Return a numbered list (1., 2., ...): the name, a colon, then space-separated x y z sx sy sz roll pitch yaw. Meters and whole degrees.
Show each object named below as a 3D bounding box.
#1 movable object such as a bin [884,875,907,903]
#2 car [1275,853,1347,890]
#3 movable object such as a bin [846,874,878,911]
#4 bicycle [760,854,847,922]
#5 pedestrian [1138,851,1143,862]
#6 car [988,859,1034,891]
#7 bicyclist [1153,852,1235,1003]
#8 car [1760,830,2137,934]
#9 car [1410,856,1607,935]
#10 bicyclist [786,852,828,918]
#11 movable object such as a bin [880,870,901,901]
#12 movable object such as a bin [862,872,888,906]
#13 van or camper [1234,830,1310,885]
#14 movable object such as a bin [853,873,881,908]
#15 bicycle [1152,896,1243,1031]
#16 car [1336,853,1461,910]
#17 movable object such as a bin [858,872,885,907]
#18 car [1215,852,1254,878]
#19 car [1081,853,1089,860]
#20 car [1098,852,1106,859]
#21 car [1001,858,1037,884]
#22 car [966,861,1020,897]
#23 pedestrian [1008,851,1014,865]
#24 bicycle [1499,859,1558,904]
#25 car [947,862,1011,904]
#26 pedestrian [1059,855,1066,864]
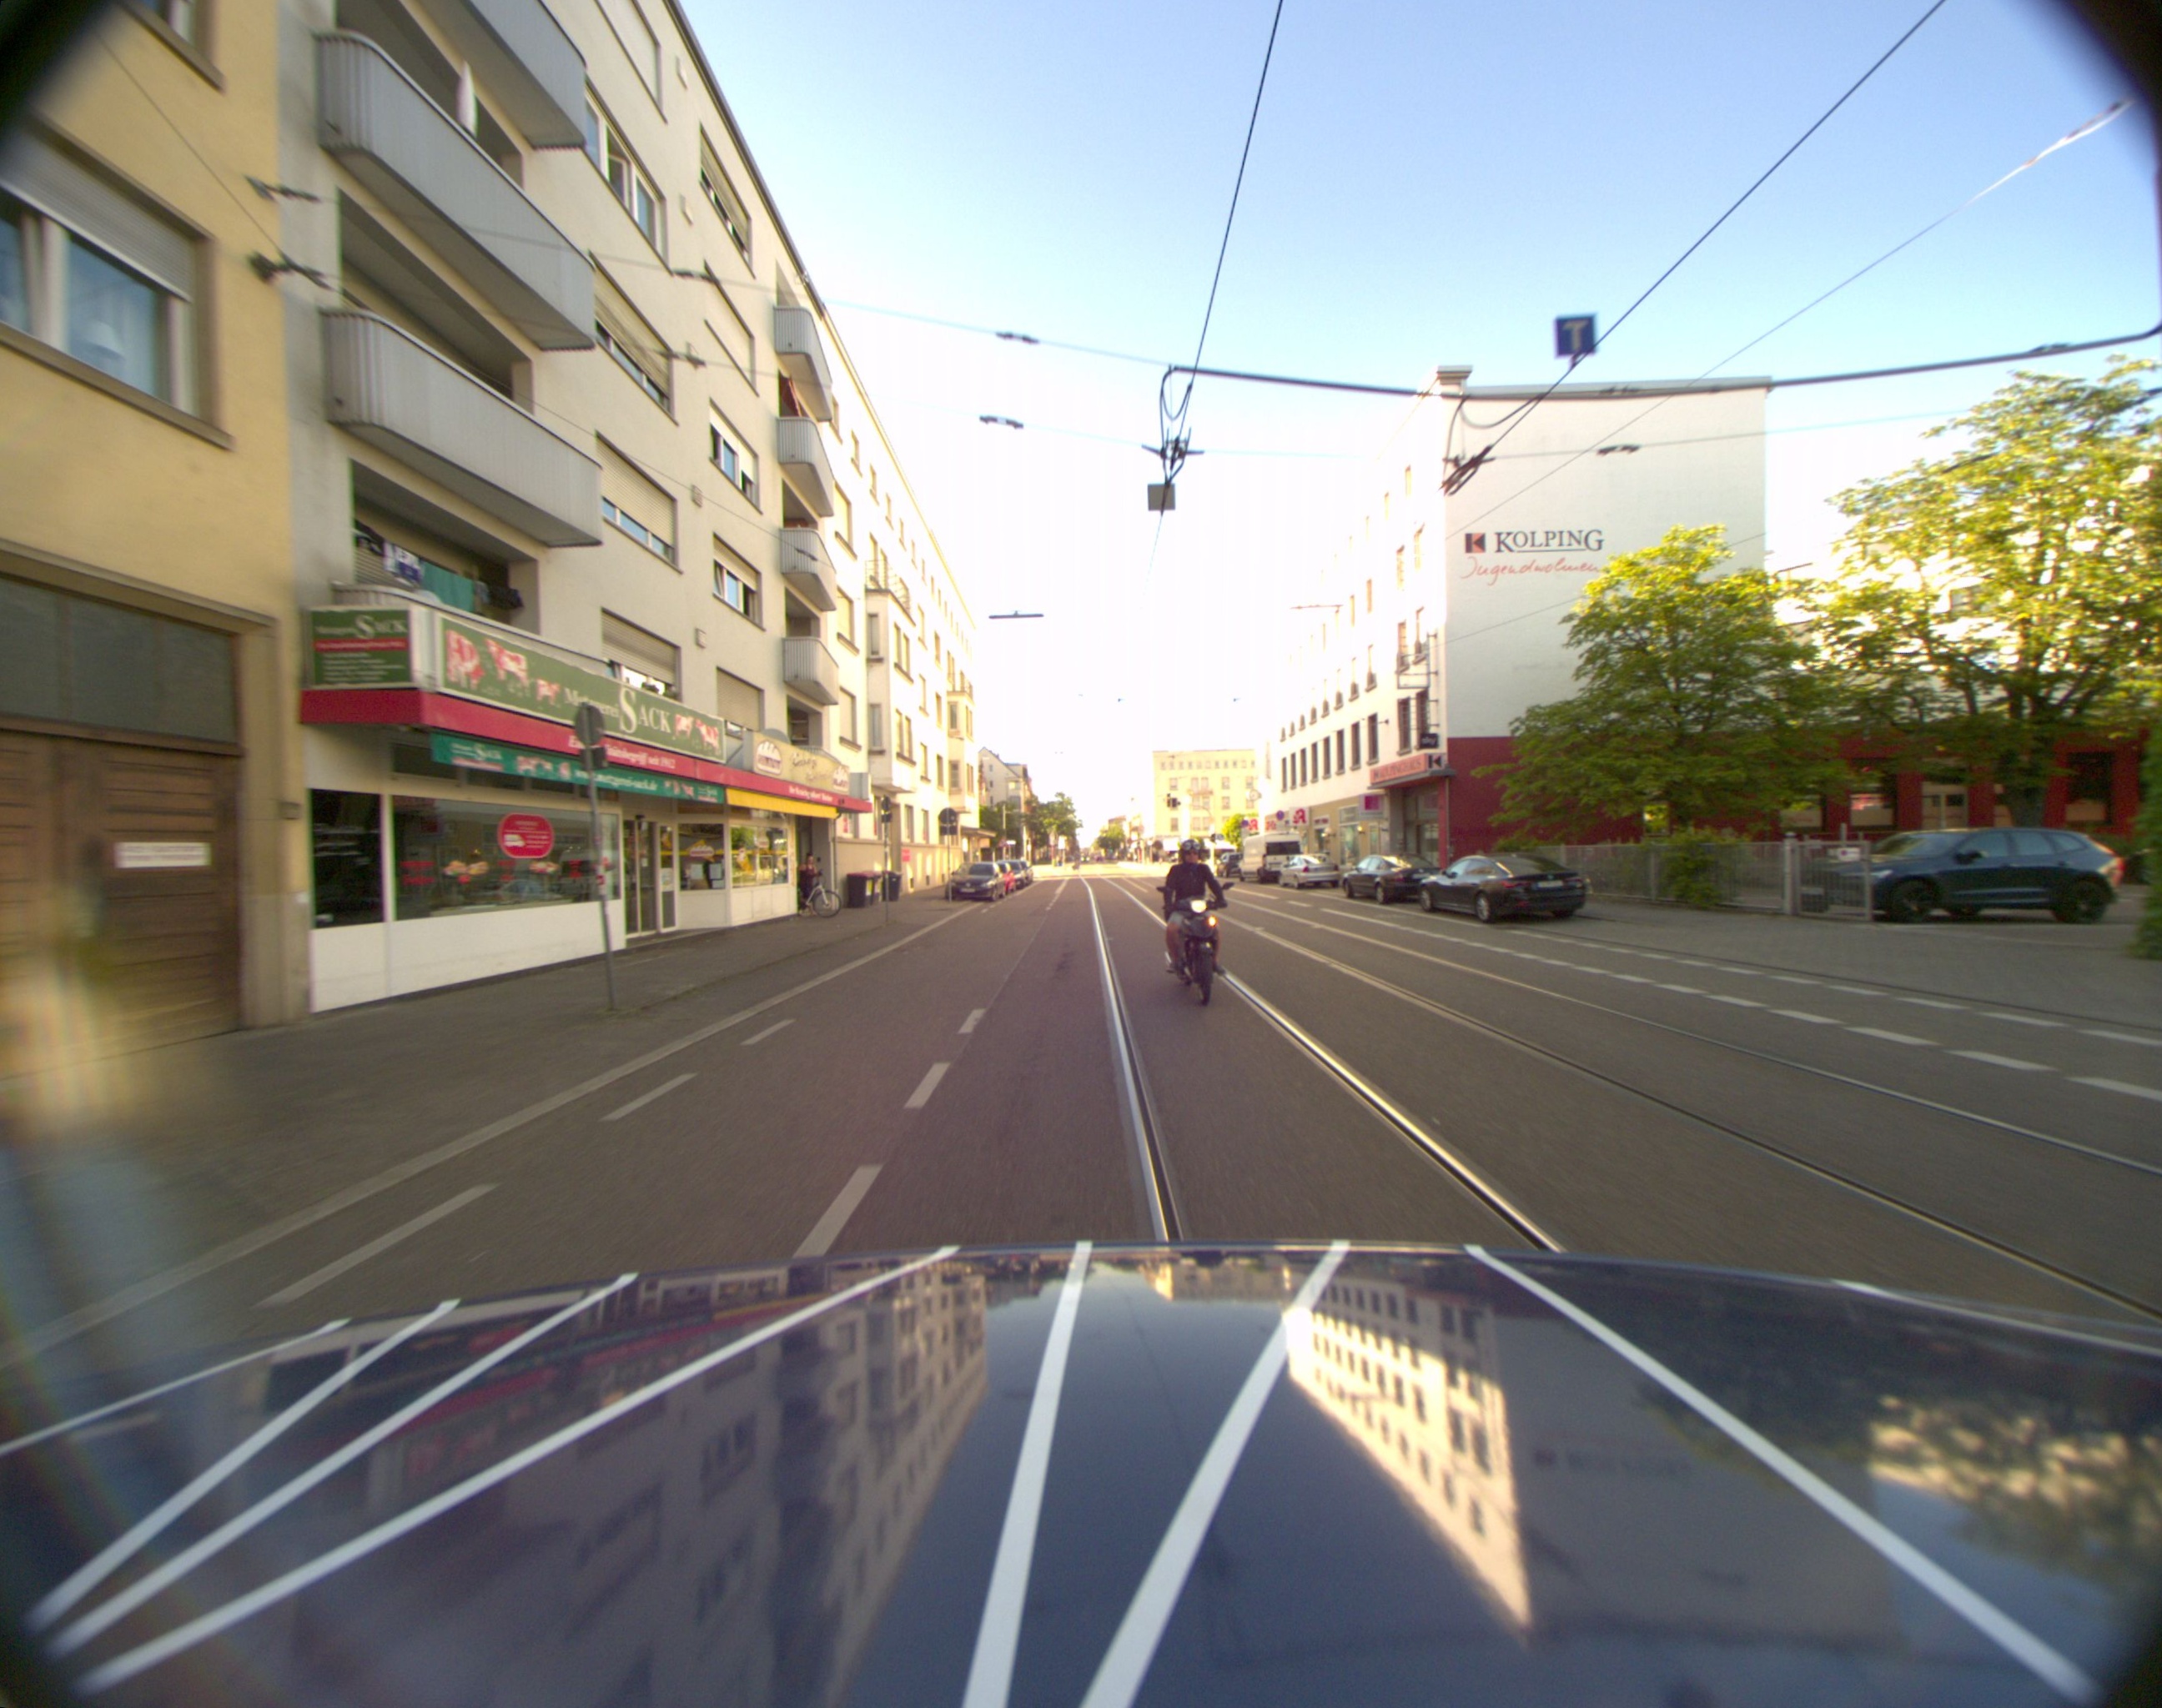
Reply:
1. movable object such as a bin: -6.475 1.216 26.561 0.657 0.911 0.569 -2 1 -1
2. car: 9.688 0.697 32.376 1.787 1.390 4.445 -3 0 2
3. movable object such as a bin: -6.682 1.162 23.222 0.772 1.066 0.618 -2 1 -1
4. bicycle: -7.287 0.871 20.010 1.935 1.700 0.775 -2 1 4
5. pedestrian: 8.234 0.390 104.491 0.551 1.482 0.610 -1 1 -6
6. car: -3.600 1.079 39.711 1.862 1.498 4.096 1 0 2
7. bicyclist: 1.199 0.755 8.230 0.774 1.531 0.939 -1 1 4
8. car: 15.288 0.472 13.622 4.372 1.588 2.000 -2 0 2
9. car: 9.521 0.827 17.481 1.787 1.437 4.841 -3 0 1
10. bicyclist: -7.202 0.819 20.007 0.844 1.692 0.510 -2 1 4
11. movable object such as a bin: -6.823 1.128 27.217 0.560 1.051 0.554 -2 1 -1
12. movable object such as a bin: -6.793 1.146 25.035 0.677 1.066 0.569 -2 1 -1
13. van or camper: 9.693 0.160 39.173 2.177 2.453 6.231 -3 0 0
14. movable object such as a bin: -6.726 1.145 23.865 0.677 1.066 0.569 -2 1 -1
15. bicycle: 1.212 1.111 8.244 0.767 1.191 1.752 -1 0 3
16. car: 9.499 0.759 23.214 1.788 1.472 4.699 -3 0 0
17. movable object such as a bin: -6.728 1.134 24.449 0.677 1.066 0.569 -2 1 -1
18. car: 9.890 0.663 49.202 1.787 1.543 3.992 -3 0 2
19. car: 0.946 0.467 178.387 1.971 1.577 4.000 -2 0 1
20. car: 5.070 0.367 182.070 1.970 1.577 4.000 -2 0 2
21. car: -3.955 1.053 49.209 1.752 1.498 4.919 1 0 2
22. car: -3.915 1.091 34.506 1.862 1.464 3.989 1 0 2
23. pedestrian: -9.630 0.528 104.200 0.650 1.944 0.583 -2 1 -16
24. bicycle: 12.454 0.731 21.216 0.440 1.168 2.050 -2 1 1
25. car: -3.840 1.063 29.188 1.714 1.399 4.358 1 0 2
26. pedestrian: -2.359 0.724 96.958 0.774 1.197 0.610 -1 1 -8
